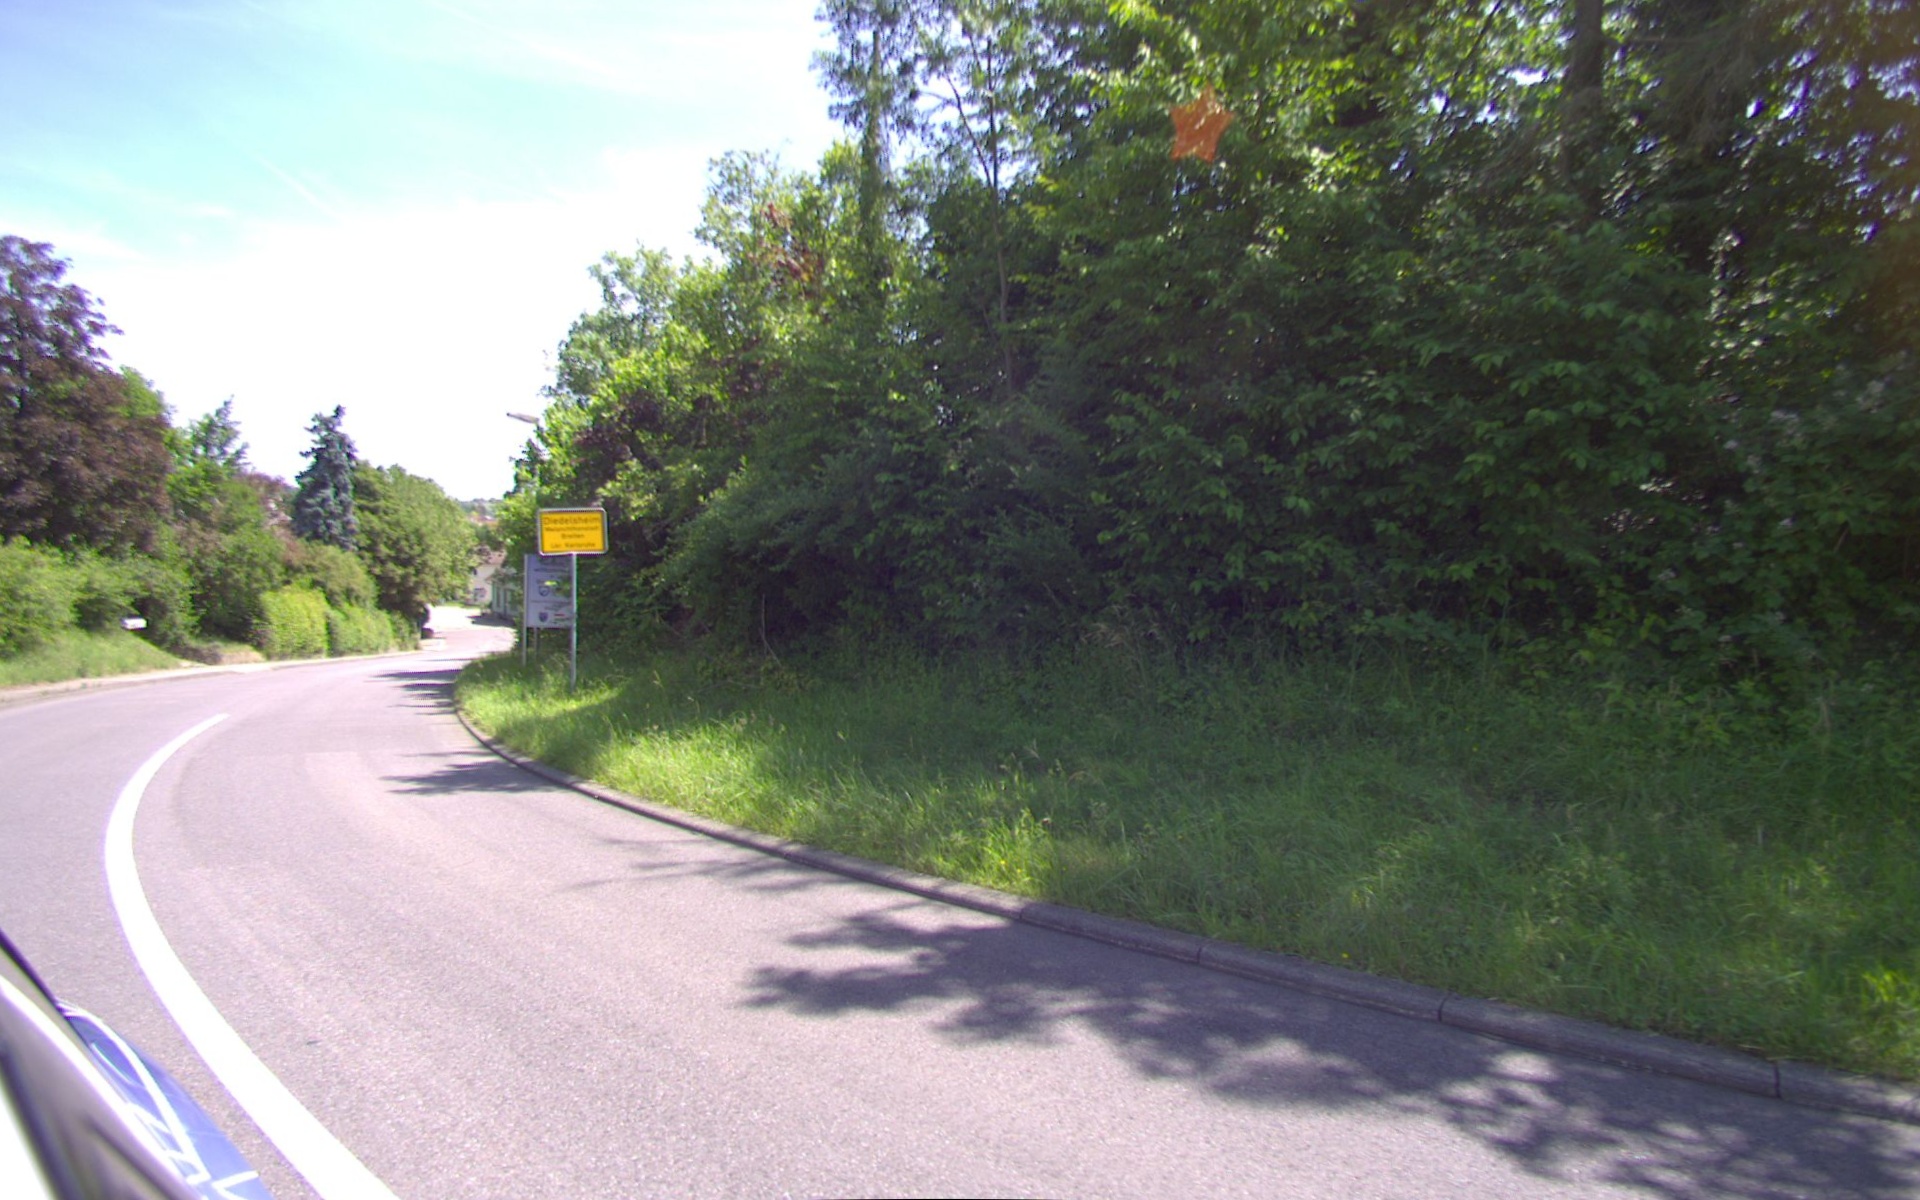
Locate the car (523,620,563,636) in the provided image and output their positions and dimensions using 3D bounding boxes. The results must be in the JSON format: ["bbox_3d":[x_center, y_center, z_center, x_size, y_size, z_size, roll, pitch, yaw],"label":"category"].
[{"bbox_3d":[-42.895,2.849,104.115,3.523,1.395,1.520,-4,3,-34],"label":"car"}]
